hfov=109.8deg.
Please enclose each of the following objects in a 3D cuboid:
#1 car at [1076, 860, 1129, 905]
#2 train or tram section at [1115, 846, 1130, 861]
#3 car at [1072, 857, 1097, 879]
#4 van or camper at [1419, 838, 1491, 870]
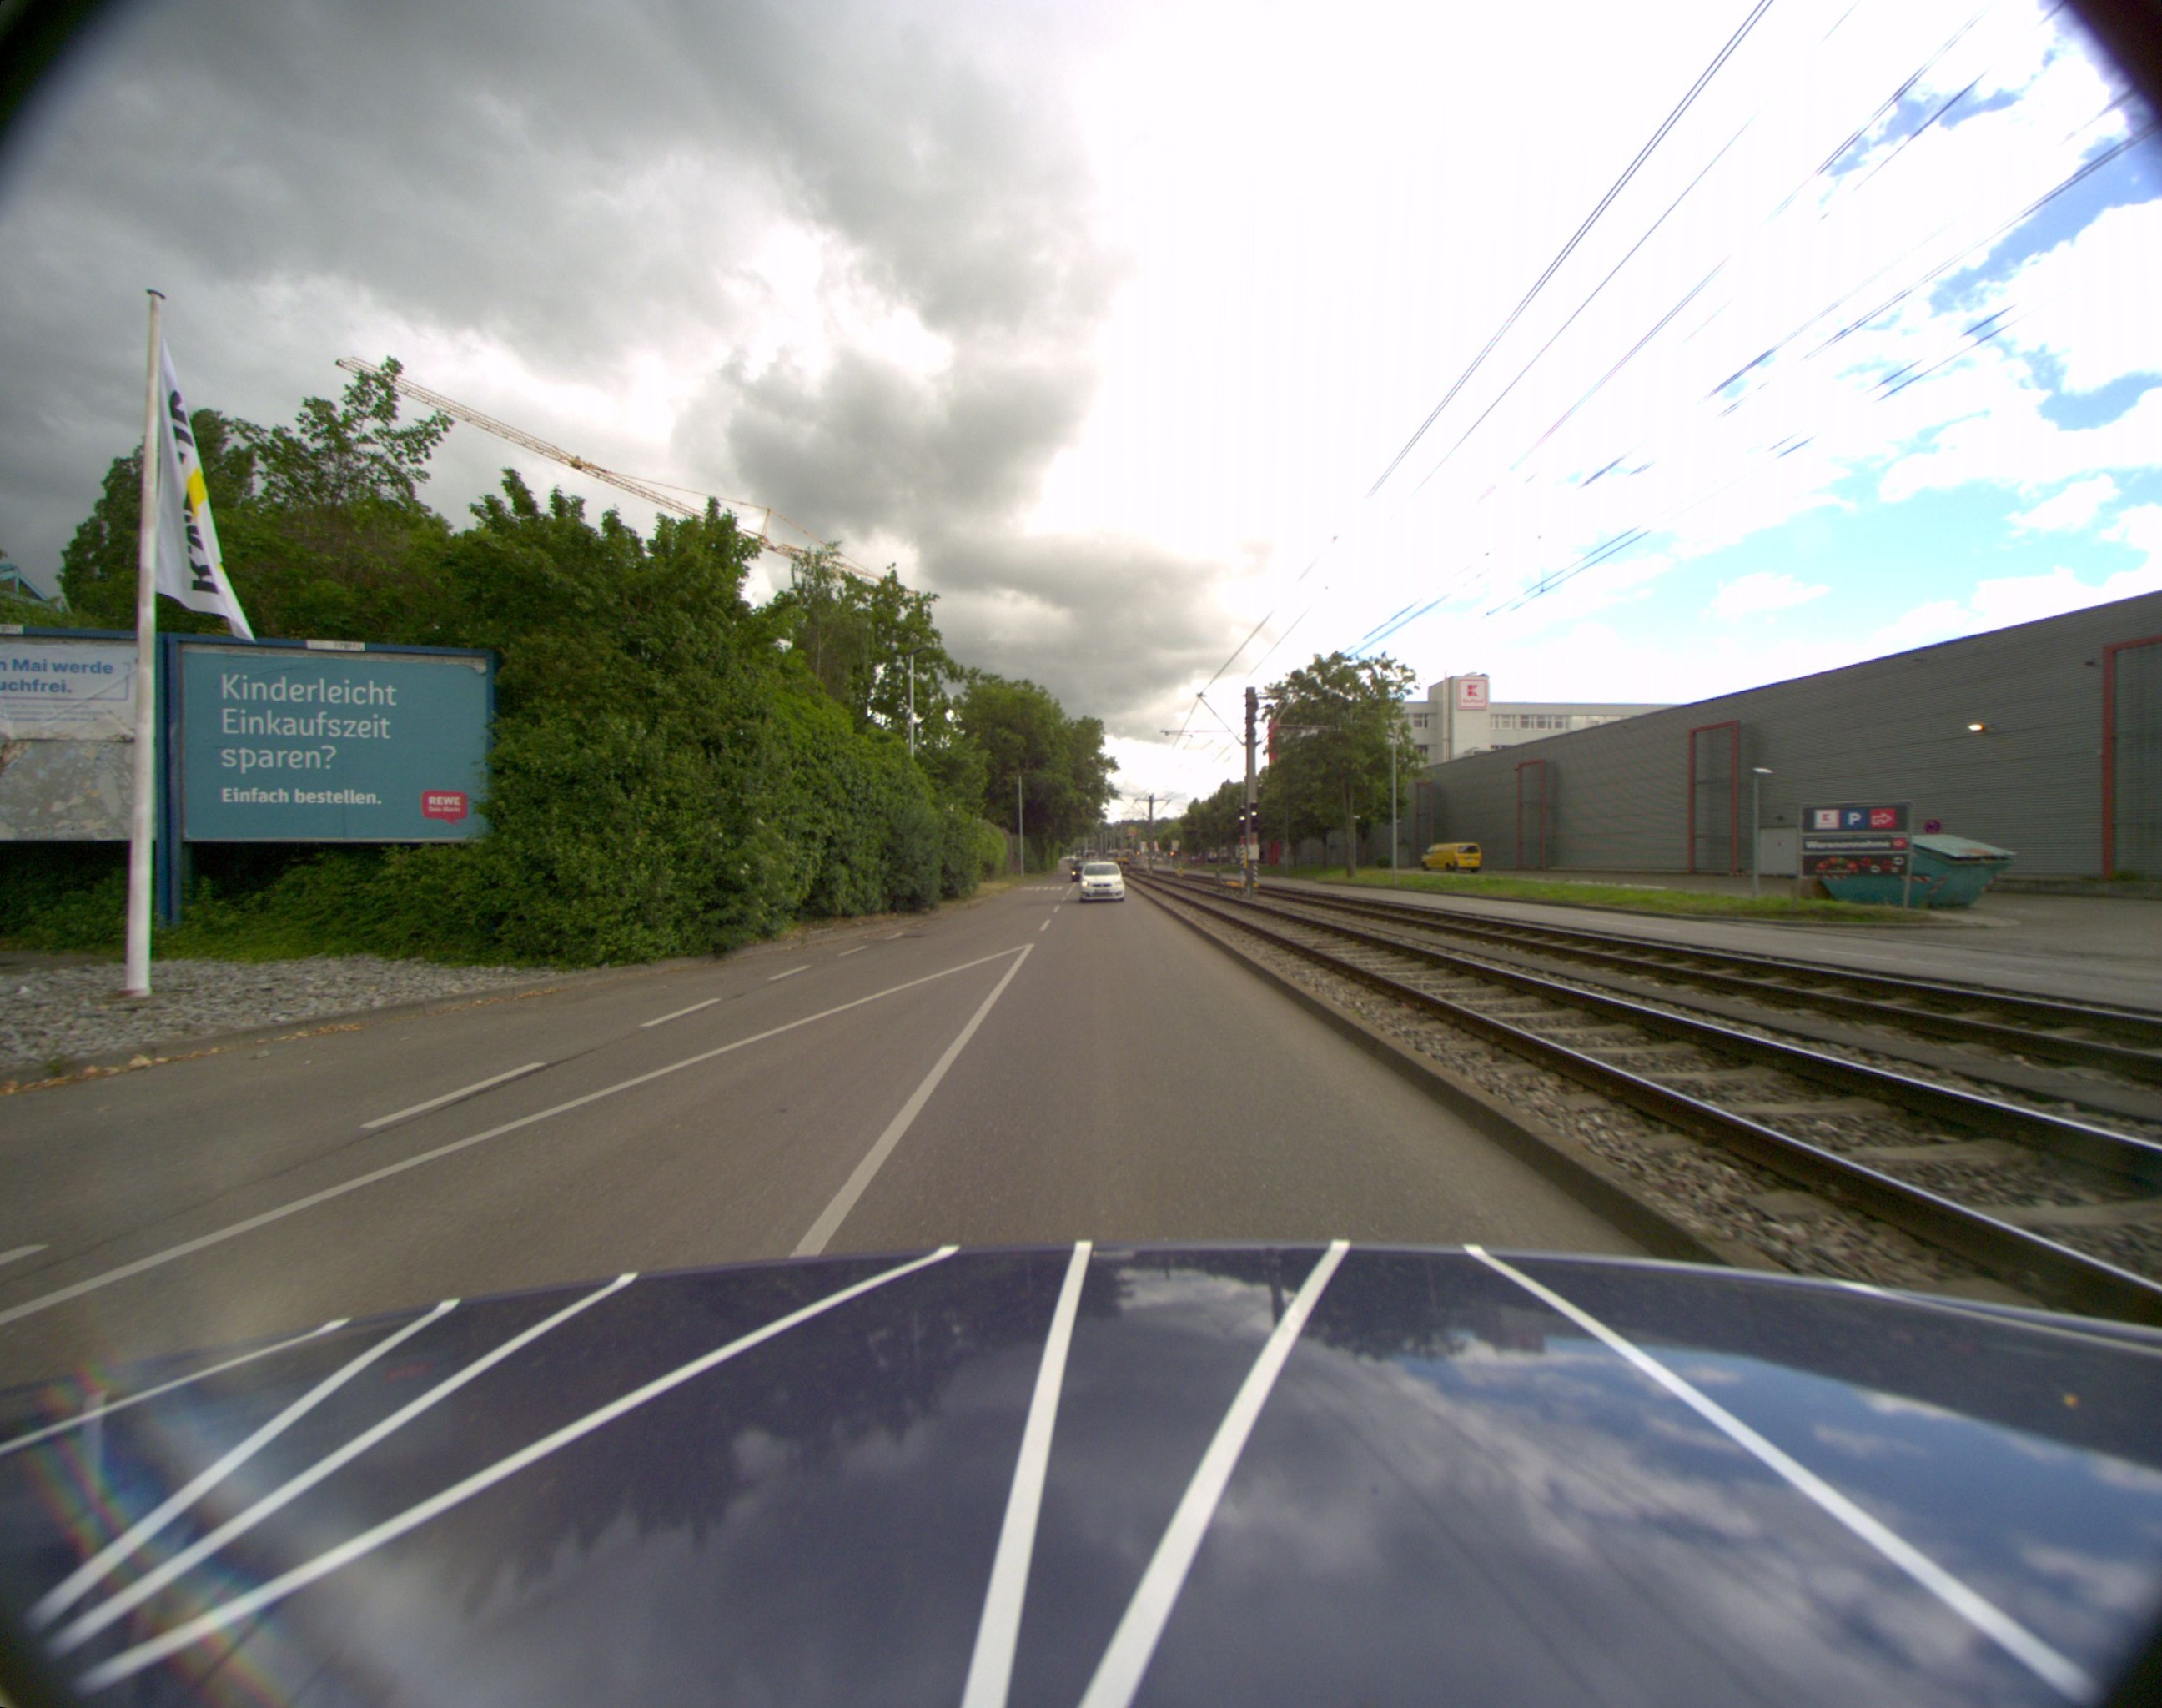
[{"bbox_3d":[0.740,0.983,28.095,1.764,1.469,4.031,-2,0,0],"label":"car"},{"bbox_3d":[10.310,-0.124,190.725,2.778,3.753,13.785,-1,0,-1],"label":"train or tram section"},{"bbox_3d":[0.265,1.003,55.843,1.714,1.586,4.000,-1,0,1],"label":"car"},{"bbox_3d":[25.117,-0.005,51.318,2.109,2.002,5.241,-1,0,-2],"label":"van or camper"}]
